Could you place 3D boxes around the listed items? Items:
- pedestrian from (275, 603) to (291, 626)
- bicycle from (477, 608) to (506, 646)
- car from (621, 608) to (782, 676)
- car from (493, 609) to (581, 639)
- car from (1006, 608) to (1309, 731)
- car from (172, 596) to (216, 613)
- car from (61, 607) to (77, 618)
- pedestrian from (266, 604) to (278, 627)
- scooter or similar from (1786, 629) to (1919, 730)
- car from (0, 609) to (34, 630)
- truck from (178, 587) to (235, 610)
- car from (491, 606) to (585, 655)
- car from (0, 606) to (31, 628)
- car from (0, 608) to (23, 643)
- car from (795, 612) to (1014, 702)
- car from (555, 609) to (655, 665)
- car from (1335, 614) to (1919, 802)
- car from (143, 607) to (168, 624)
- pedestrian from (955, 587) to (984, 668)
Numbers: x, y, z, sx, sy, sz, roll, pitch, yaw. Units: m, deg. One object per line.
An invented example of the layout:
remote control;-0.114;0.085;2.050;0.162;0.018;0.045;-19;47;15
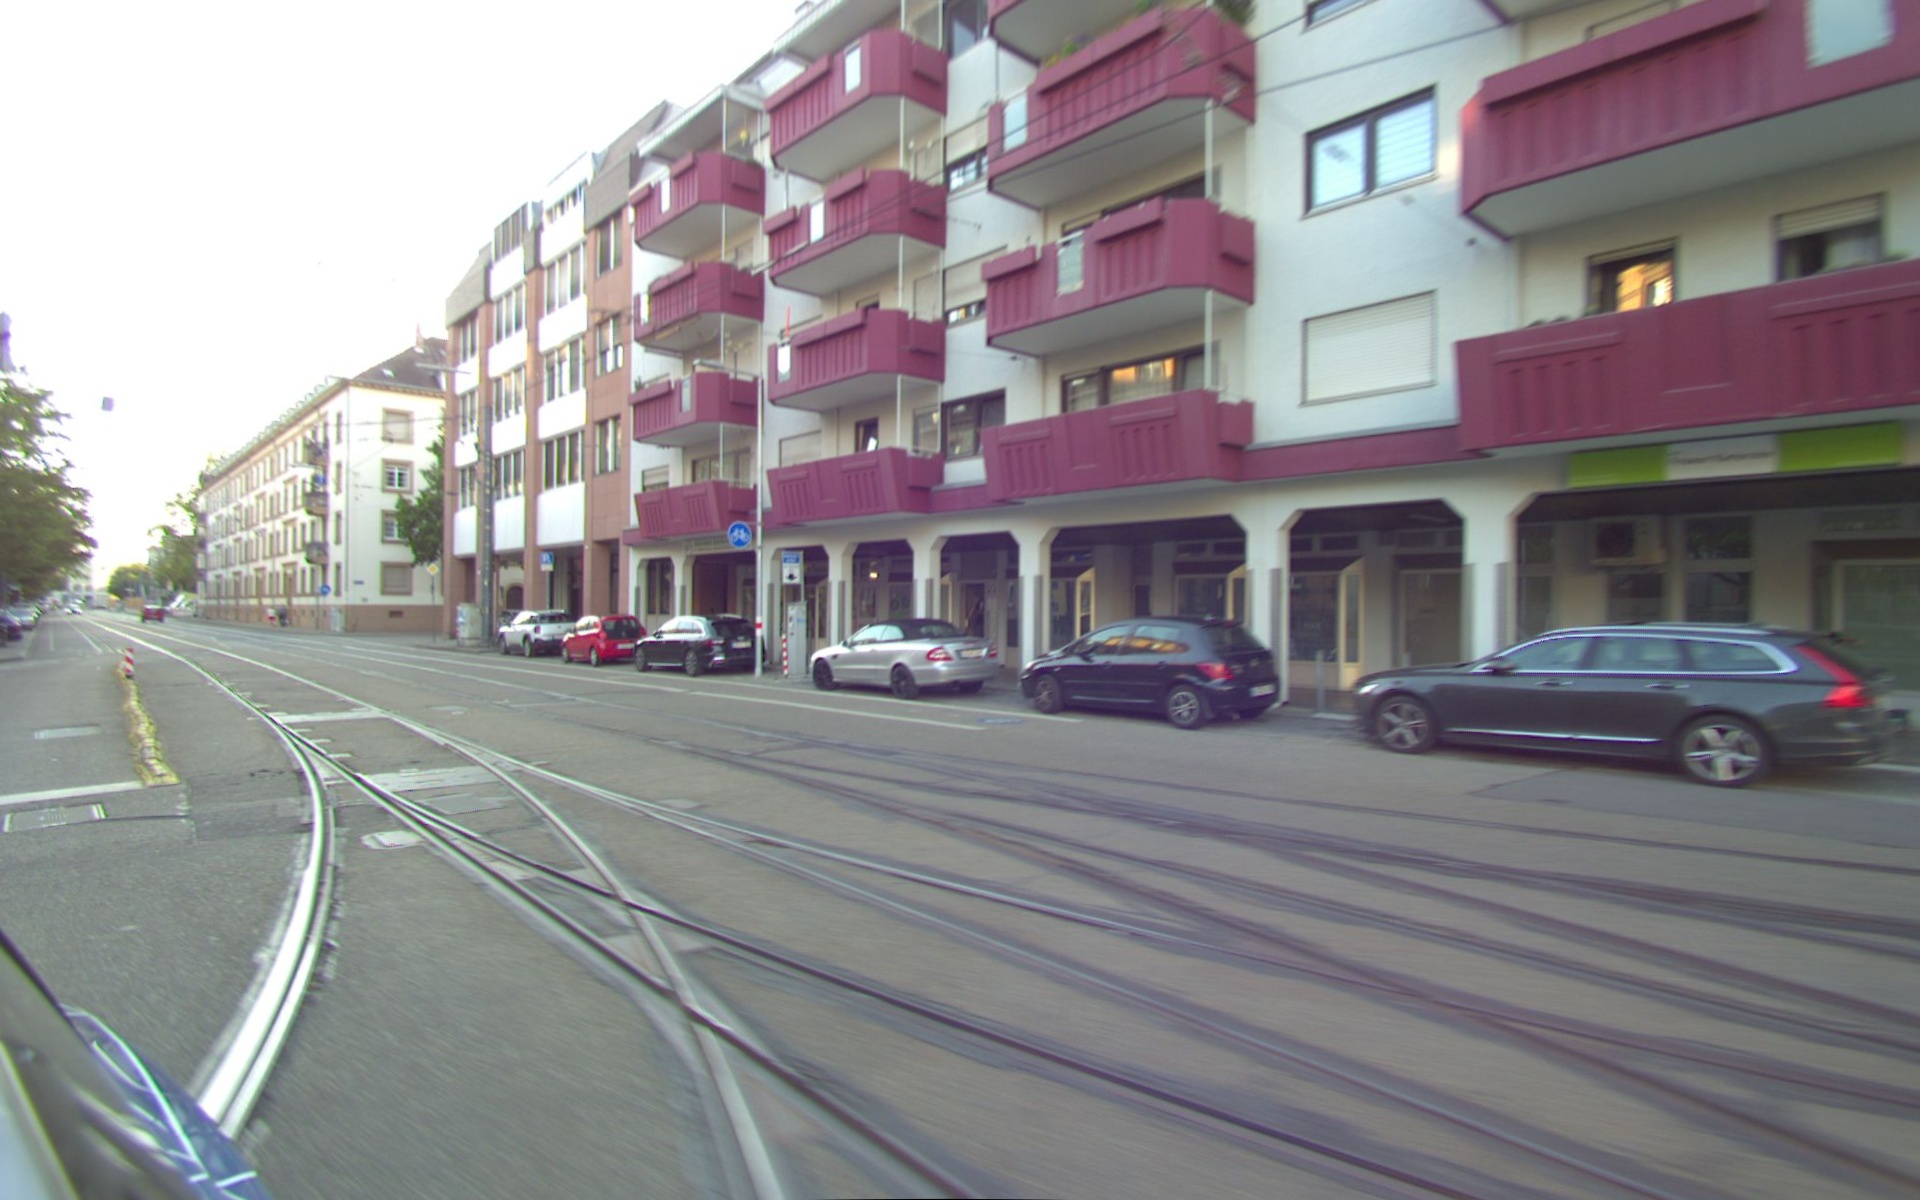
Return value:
pedestrian;-50.206;1.073;75.087;0.786;1.714;0.982;1;-1;-44
bicycle;-17.702;1.020;38.201;0.600;1.388;2.264;1;-1;-34
car;-6.611;0.989;25.625;1.970;1.490;4.485;-2;1;-44
car;-23.073;1.287;55.306;1.922;1.516;3.946;2;0;40
car;2.793;0.905;15.043;1.766;1.520;4.206;-1;0;-42
car;-118.010;0.721;155.996;2.230;2.617;5.160;-2;-1;44
car;-148.049;2.076;168.140;1.969;1.696;4.005;0;-1;-42
pedestrian;-50.786;1.138;74.684;0.583;1.622;0.812;1;-1;-44
scooter or similar;11.362;0.970;12.689;0.542;1.174;1.482;1;-1;-41
car;-65.174;1.347;69.708;1.758;1.391;4.698;3;-3;-40
truck;-120.476;-0.241;161.813;2.567;3.454;6.978;-2;-1;44
car;-14.427;0.991;34.497;1.696;1.567;4.209;-1;0;-42
car;-61.328;1.093;65.548;1.599;1.391;3.780;3;-3;-42
car;-41.146;0.990;40.828;1.700;1.468;4.583;0;-2;23
car;-1.187;0.979;19.242;1.670;1.424;4.685;-2;1;-40
car;-10.525;1.052;29.876;1.591;1.490;3.484;-2;1;-41
car;6.734;0.891;10.499;1.829;1.468;5.093;1;-1;-42
car;-79.385;1.539;99.831;1.541;1.570;3.757;3;-3;-44
pedestrian;0.238;0.697;25.775;0.528;2.029;0.518;-1;-1;43
